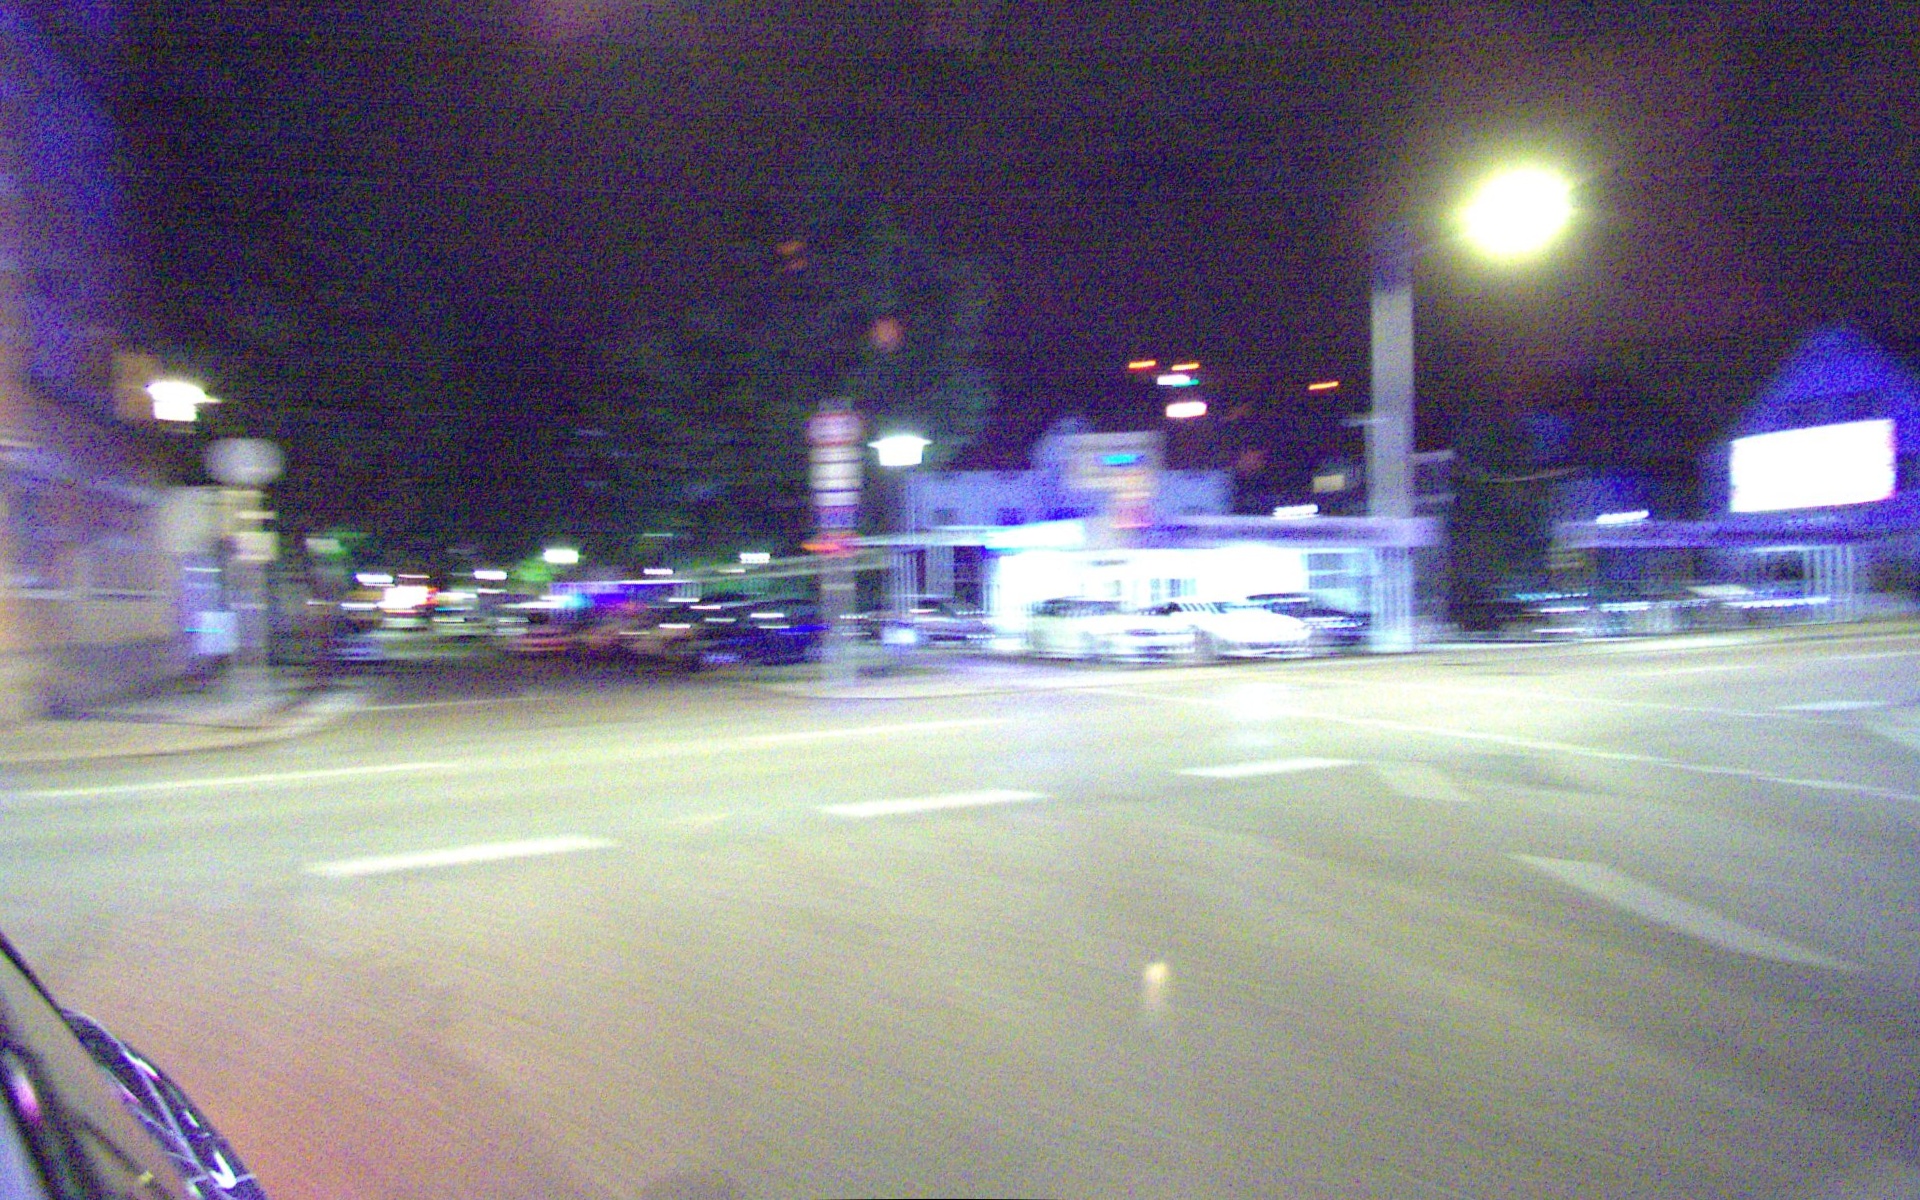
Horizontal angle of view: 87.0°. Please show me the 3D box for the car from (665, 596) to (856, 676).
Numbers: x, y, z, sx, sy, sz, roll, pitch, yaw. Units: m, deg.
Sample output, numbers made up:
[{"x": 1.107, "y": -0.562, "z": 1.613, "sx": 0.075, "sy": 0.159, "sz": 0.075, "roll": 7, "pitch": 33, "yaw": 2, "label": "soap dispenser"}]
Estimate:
[{"x": -4.675, "y": 0.772, "z": 23.739, "sx": 3.931, "sy": 1.634, "sz": 2.006, "roll": -1, "pitch": 1, "yaw": -29, "label": "car"}]

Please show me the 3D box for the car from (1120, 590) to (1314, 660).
[{"x": 5.837, "y": 0.521, "z": 23.580, "sx": 1.965, "sy": 1.460, "sz": 4.468, "roll": 0, "pitch": 0, "yaw": -26, "label": "car"}]

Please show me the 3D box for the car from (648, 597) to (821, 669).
[{"x": -5.808, "y": 0.783, "z": 26.100, "sx": 3.931, "sy": 1.634, "sz": 2.006, "roll": -1, "pitch": 1, "yaw": -29, "label": "car"}]

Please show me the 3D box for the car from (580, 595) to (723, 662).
[{"x": -9.700, "y": 0.831, "z": 31.861, "sx": 3.931, "sy": 1.900, "sz": 2.006, "roll": -1, "pitch": 1, "yaw": -29, "label": "car"}]

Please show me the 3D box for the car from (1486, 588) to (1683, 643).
[{"x": 17.822, "y": 0.419, "z": 29.136, "sx": 1.965, "sy": 1.460, "sz": 4.468, "roll": 0, "pitch": 0, "yaw": -25, "label": "car"}]

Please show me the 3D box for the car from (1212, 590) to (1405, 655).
[{"x": 8.488, "y": 0.507, "z": 25.115, "sx": 1.965, "sy": 1.460, "sz": 4.468, "roll": 0, "pitch": 0, "yaw": -25, "label": "car"}]

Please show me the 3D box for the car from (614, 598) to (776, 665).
[{"x": -7.293, "y": 0.803, "z": 27.884, "sx": 3.931, "sy": 1.634, "sz": 2.006, "roll": -1, "pitch": 1, "yaw": -29, "label": "car"}]

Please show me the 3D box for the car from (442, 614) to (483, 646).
[{"x": -27.546, "y": 1.599, "z": 56.051, "sx": 1.965, "sy": 1.646, "sz": 4.013, "roll": 0, "pitch": 0, "yaw": -26, "label": "car"}]

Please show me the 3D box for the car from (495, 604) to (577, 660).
[{"x": -14.515, "y": 1.034, "z": 34.529, "sx": 1.966, "sy": 1.795, "sz": 4.012, "roll": 0, "pitch": 0, "yaw": -32, "label": "car"}]

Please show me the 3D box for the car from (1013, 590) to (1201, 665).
[{"x": 3.098, "y": 0.544, "z": 22.335, "sx": 1.965, "sy": 1.460, "sz": 4.468, "roll": 0, "pitch": 0, "yaw": -25, "label": "car"}]

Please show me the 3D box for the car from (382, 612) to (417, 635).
[{"x": -43.366, "y": 1.791, "z": 78.271, "sx": 1.967, "sy": 1.646, "sz": 4.010, "roll": 0, "pitch": 0, "yaw": -35, "label": "car"}]

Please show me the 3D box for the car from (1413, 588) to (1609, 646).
[{"x": 15.149, "y": 0.442, "z": 28.103, "sx": 1.965, "sy": 1.460, "sz": 4.468, "roll": 0, "pitch": 0, "yaw": -25, "label": "car"}]

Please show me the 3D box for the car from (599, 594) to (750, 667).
[{"x": -8.449, "y": 0.835, "z": 29.965, "sx": 3.931, "sy": 1.960, "sz": 2.006, "roll": -1, "pitch": 1, "yaw": -29, "label": "car"}]
